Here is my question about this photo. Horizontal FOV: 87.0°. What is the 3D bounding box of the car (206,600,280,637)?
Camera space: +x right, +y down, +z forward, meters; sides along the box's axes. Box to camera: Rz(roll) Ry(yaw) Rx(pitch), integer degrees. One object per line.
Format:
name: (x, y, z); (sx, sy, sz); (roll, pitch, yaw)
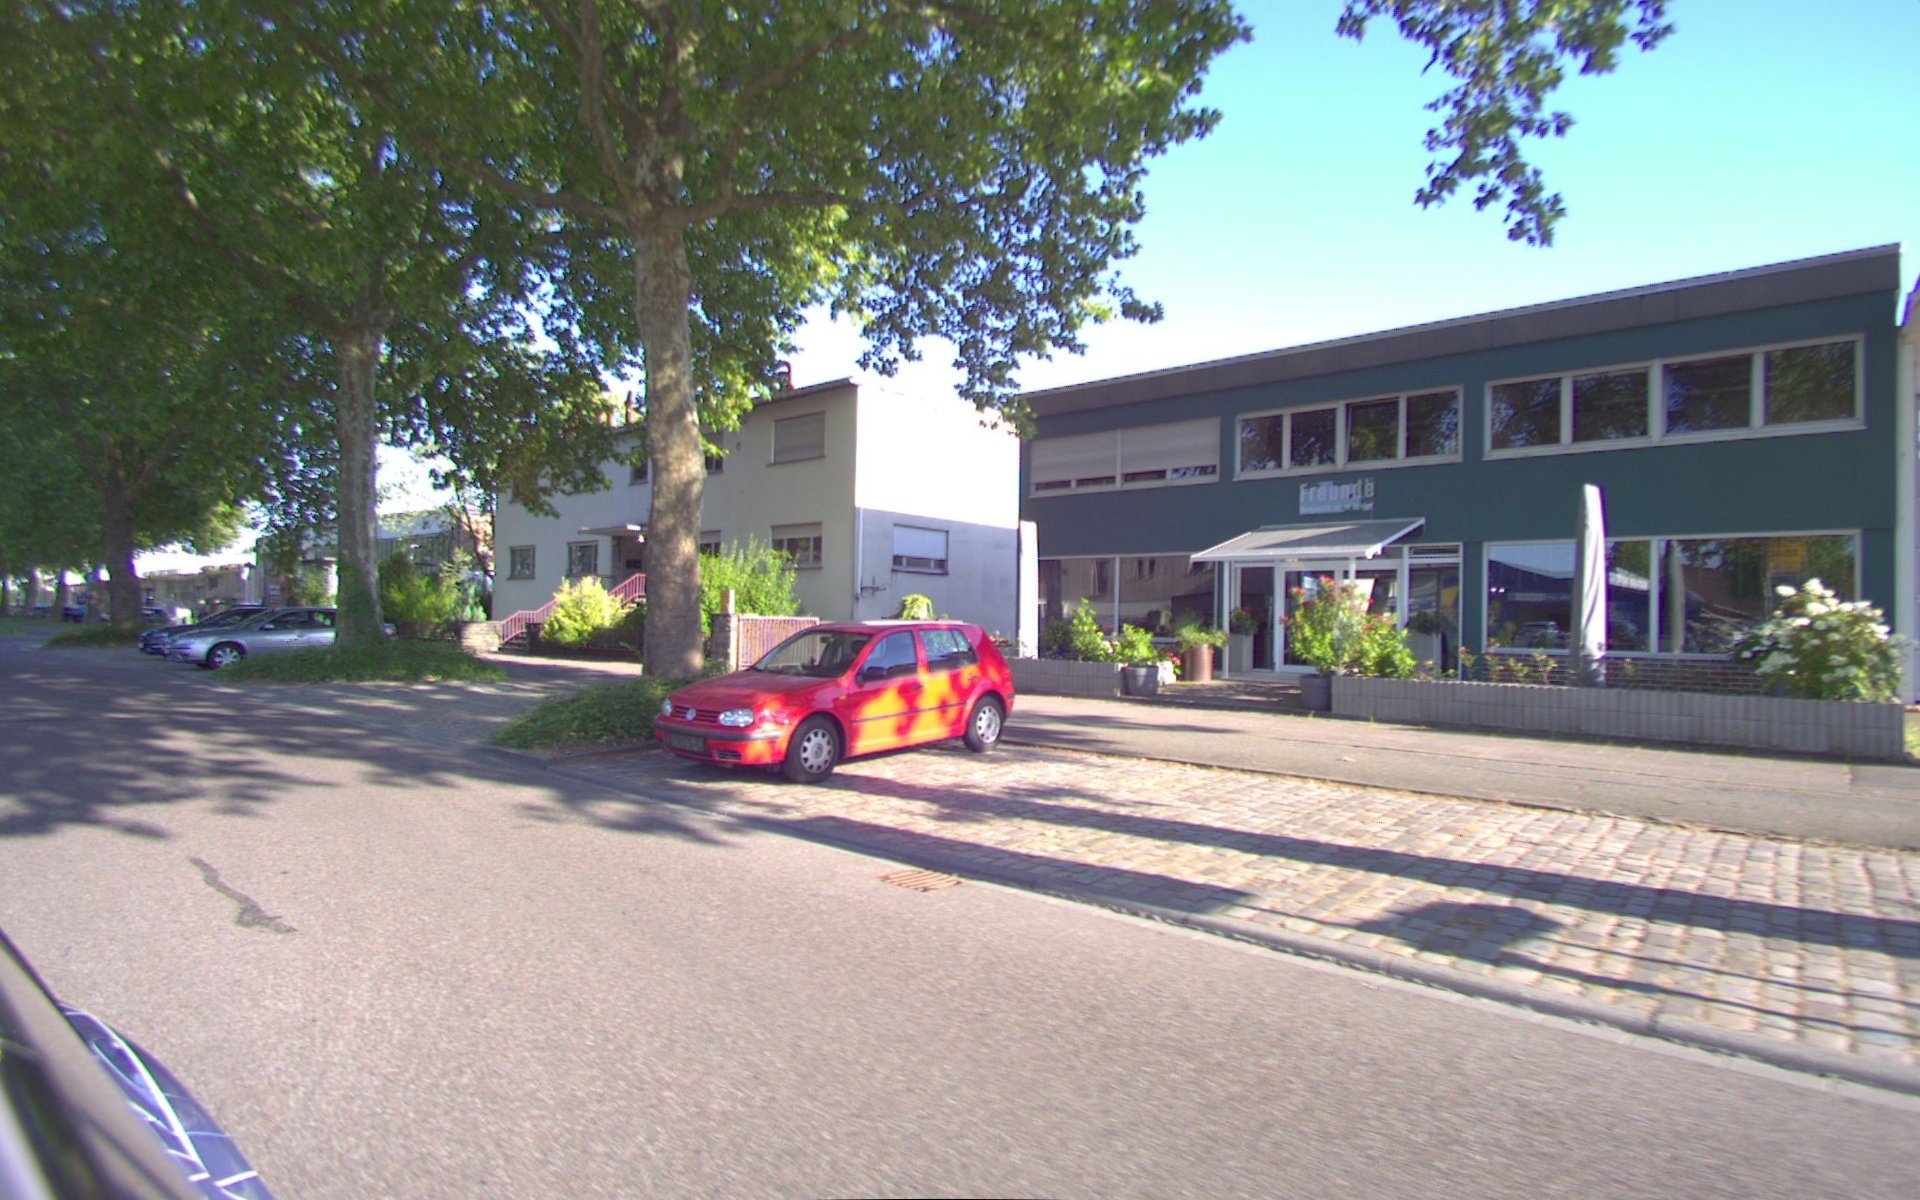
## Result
car: (-33.233, 0.838, 46.854); (4.274, 1.588, 1.972); (1, 0, 43)

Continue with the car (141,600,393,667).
car: (-16.248, 0.782, 23.922); (1.999, 1.433, 4.552); (-1, -2, 41)

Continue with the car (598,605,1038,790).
car: (-1.258, 0.797, 10.448); (1.999, 1.457, 4.252); (1, 1, 41)

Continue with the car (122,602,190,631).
car: (-44.710, 0.904, 56.272); (3.915, 1.380, 1.975); (1, -6, 38)

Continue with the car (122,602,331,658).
car: (-20.238, 0.822, 28.064); (1.998, 1.433, 4.310); (0, -2, 39)
